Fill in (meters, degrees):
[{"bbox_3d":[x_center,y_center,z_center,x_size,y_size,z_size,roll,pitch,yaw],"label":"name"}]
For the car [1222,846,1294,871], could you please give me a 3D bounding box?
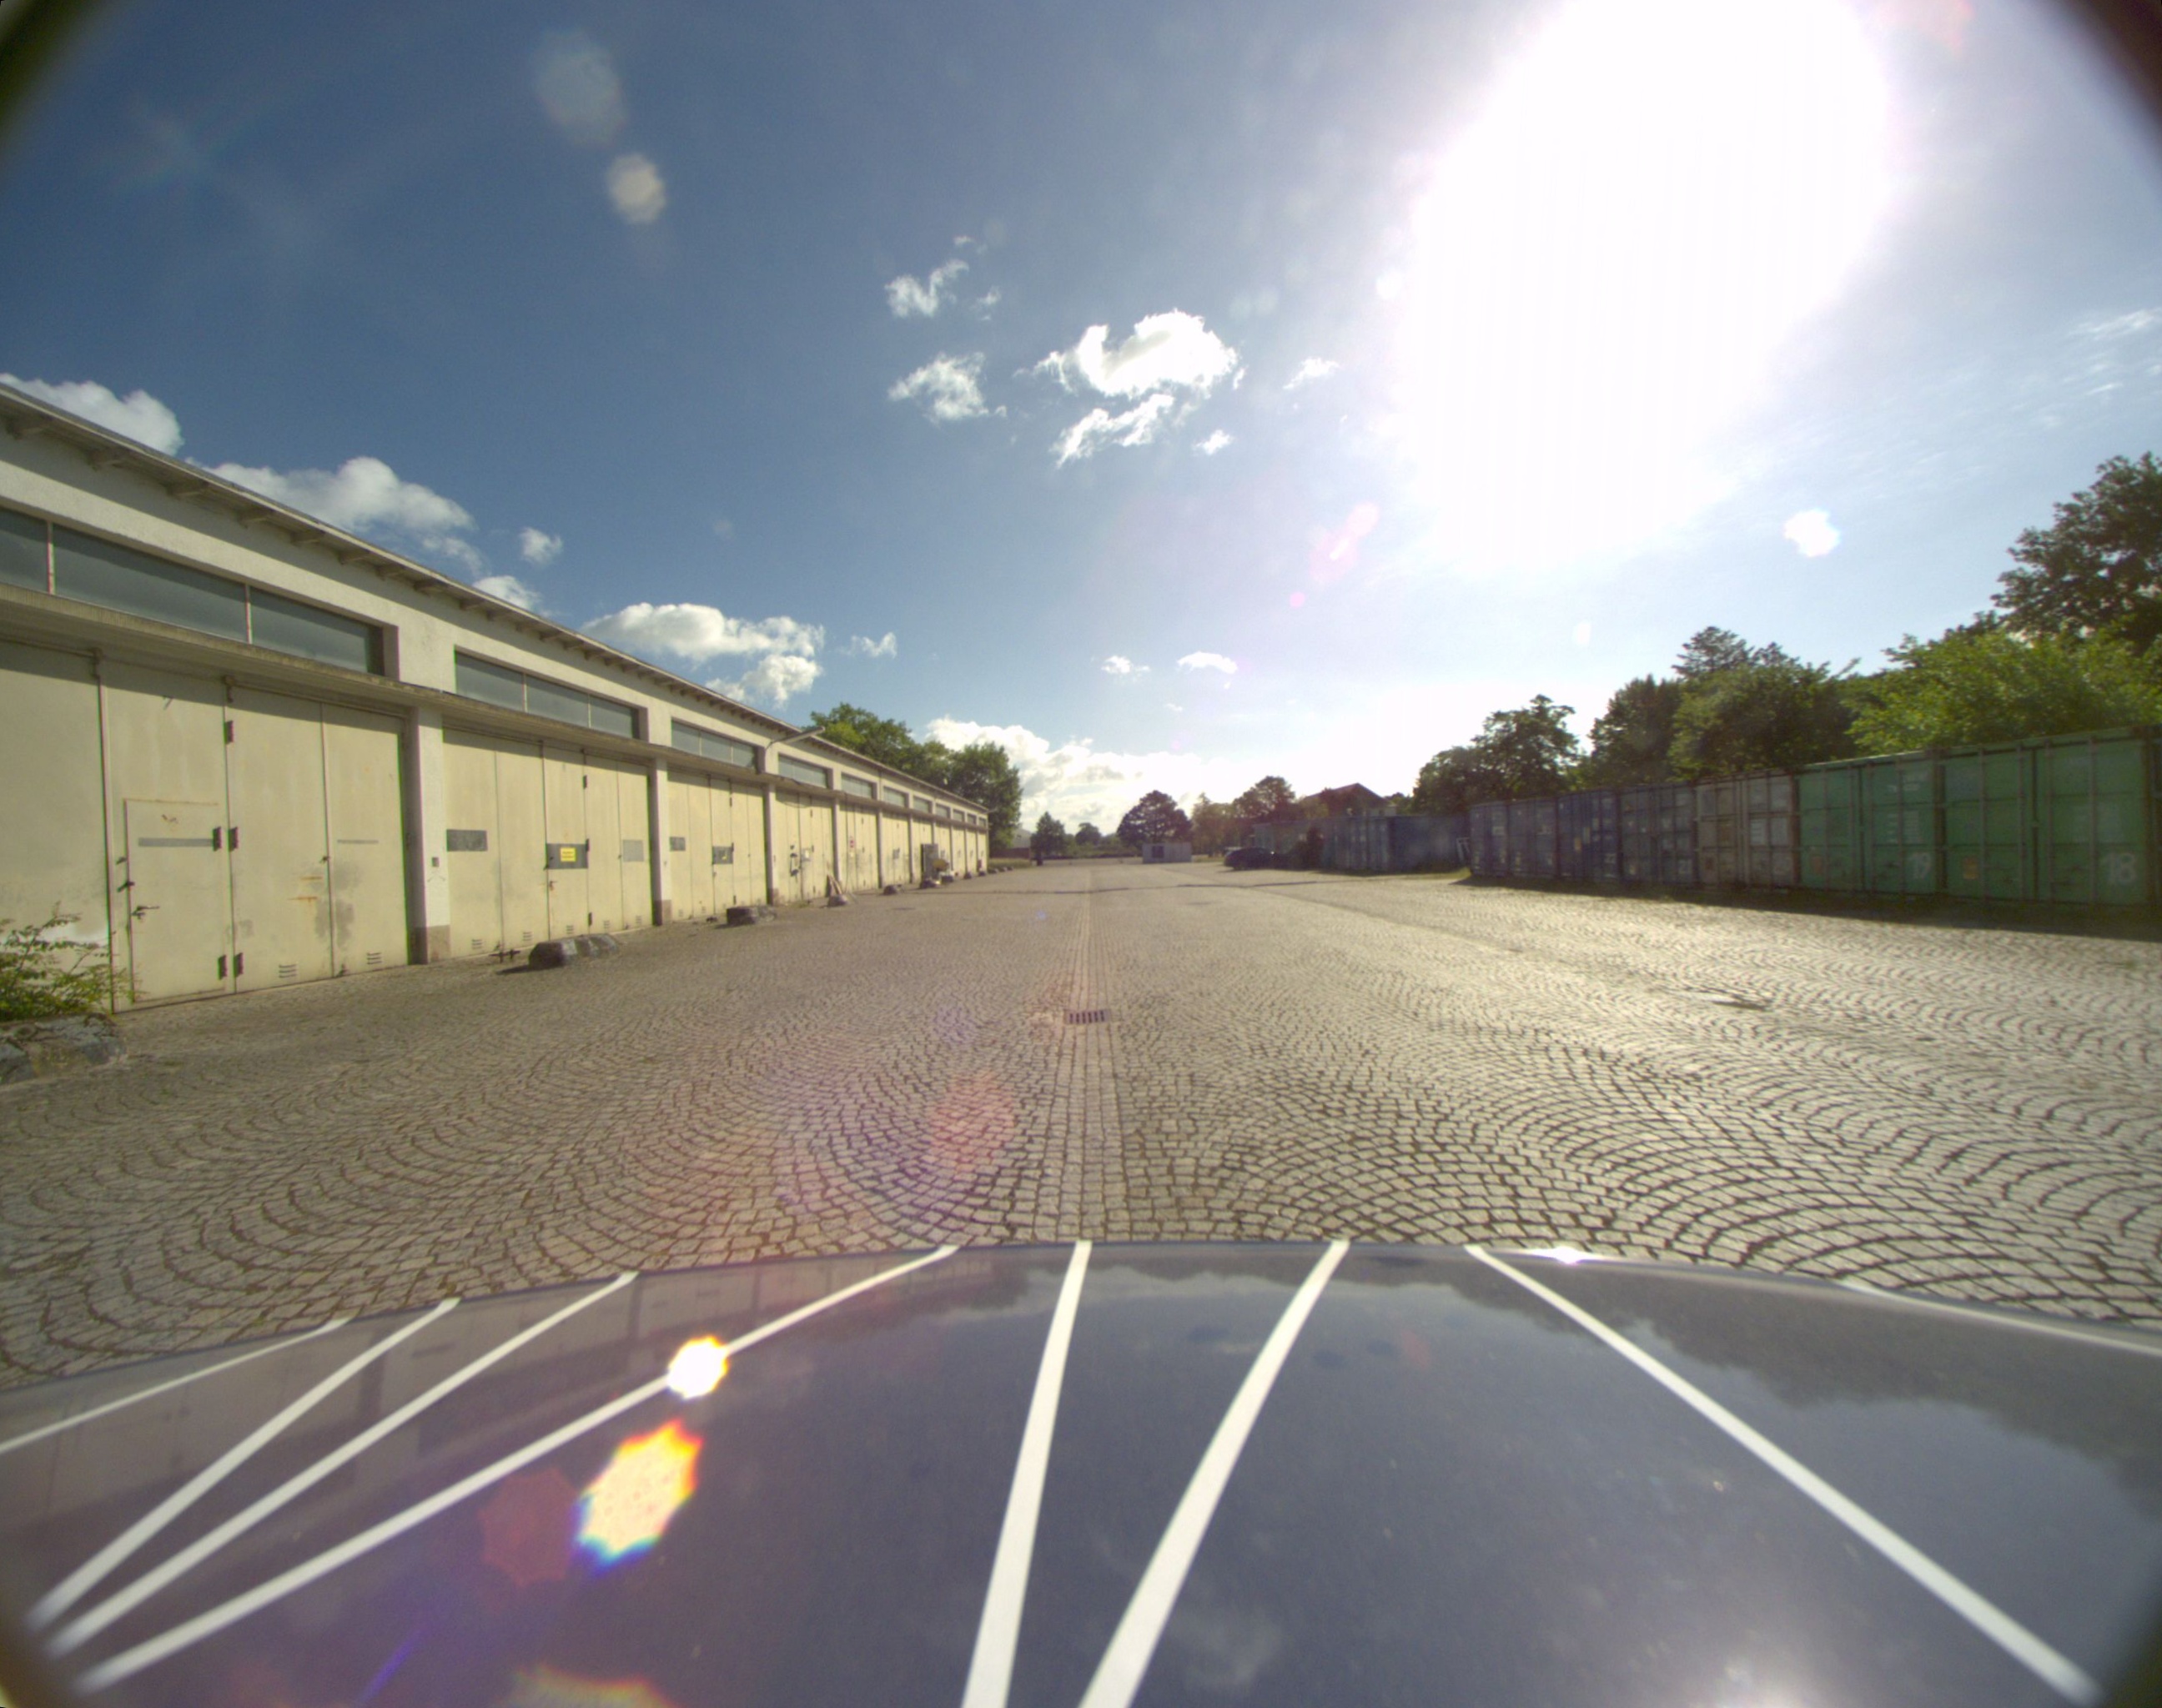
[{"bbox_3d":[11.308,0.257,48.772,4.112,1.289,1.999,-4,1,-1],"label":"car"}]
